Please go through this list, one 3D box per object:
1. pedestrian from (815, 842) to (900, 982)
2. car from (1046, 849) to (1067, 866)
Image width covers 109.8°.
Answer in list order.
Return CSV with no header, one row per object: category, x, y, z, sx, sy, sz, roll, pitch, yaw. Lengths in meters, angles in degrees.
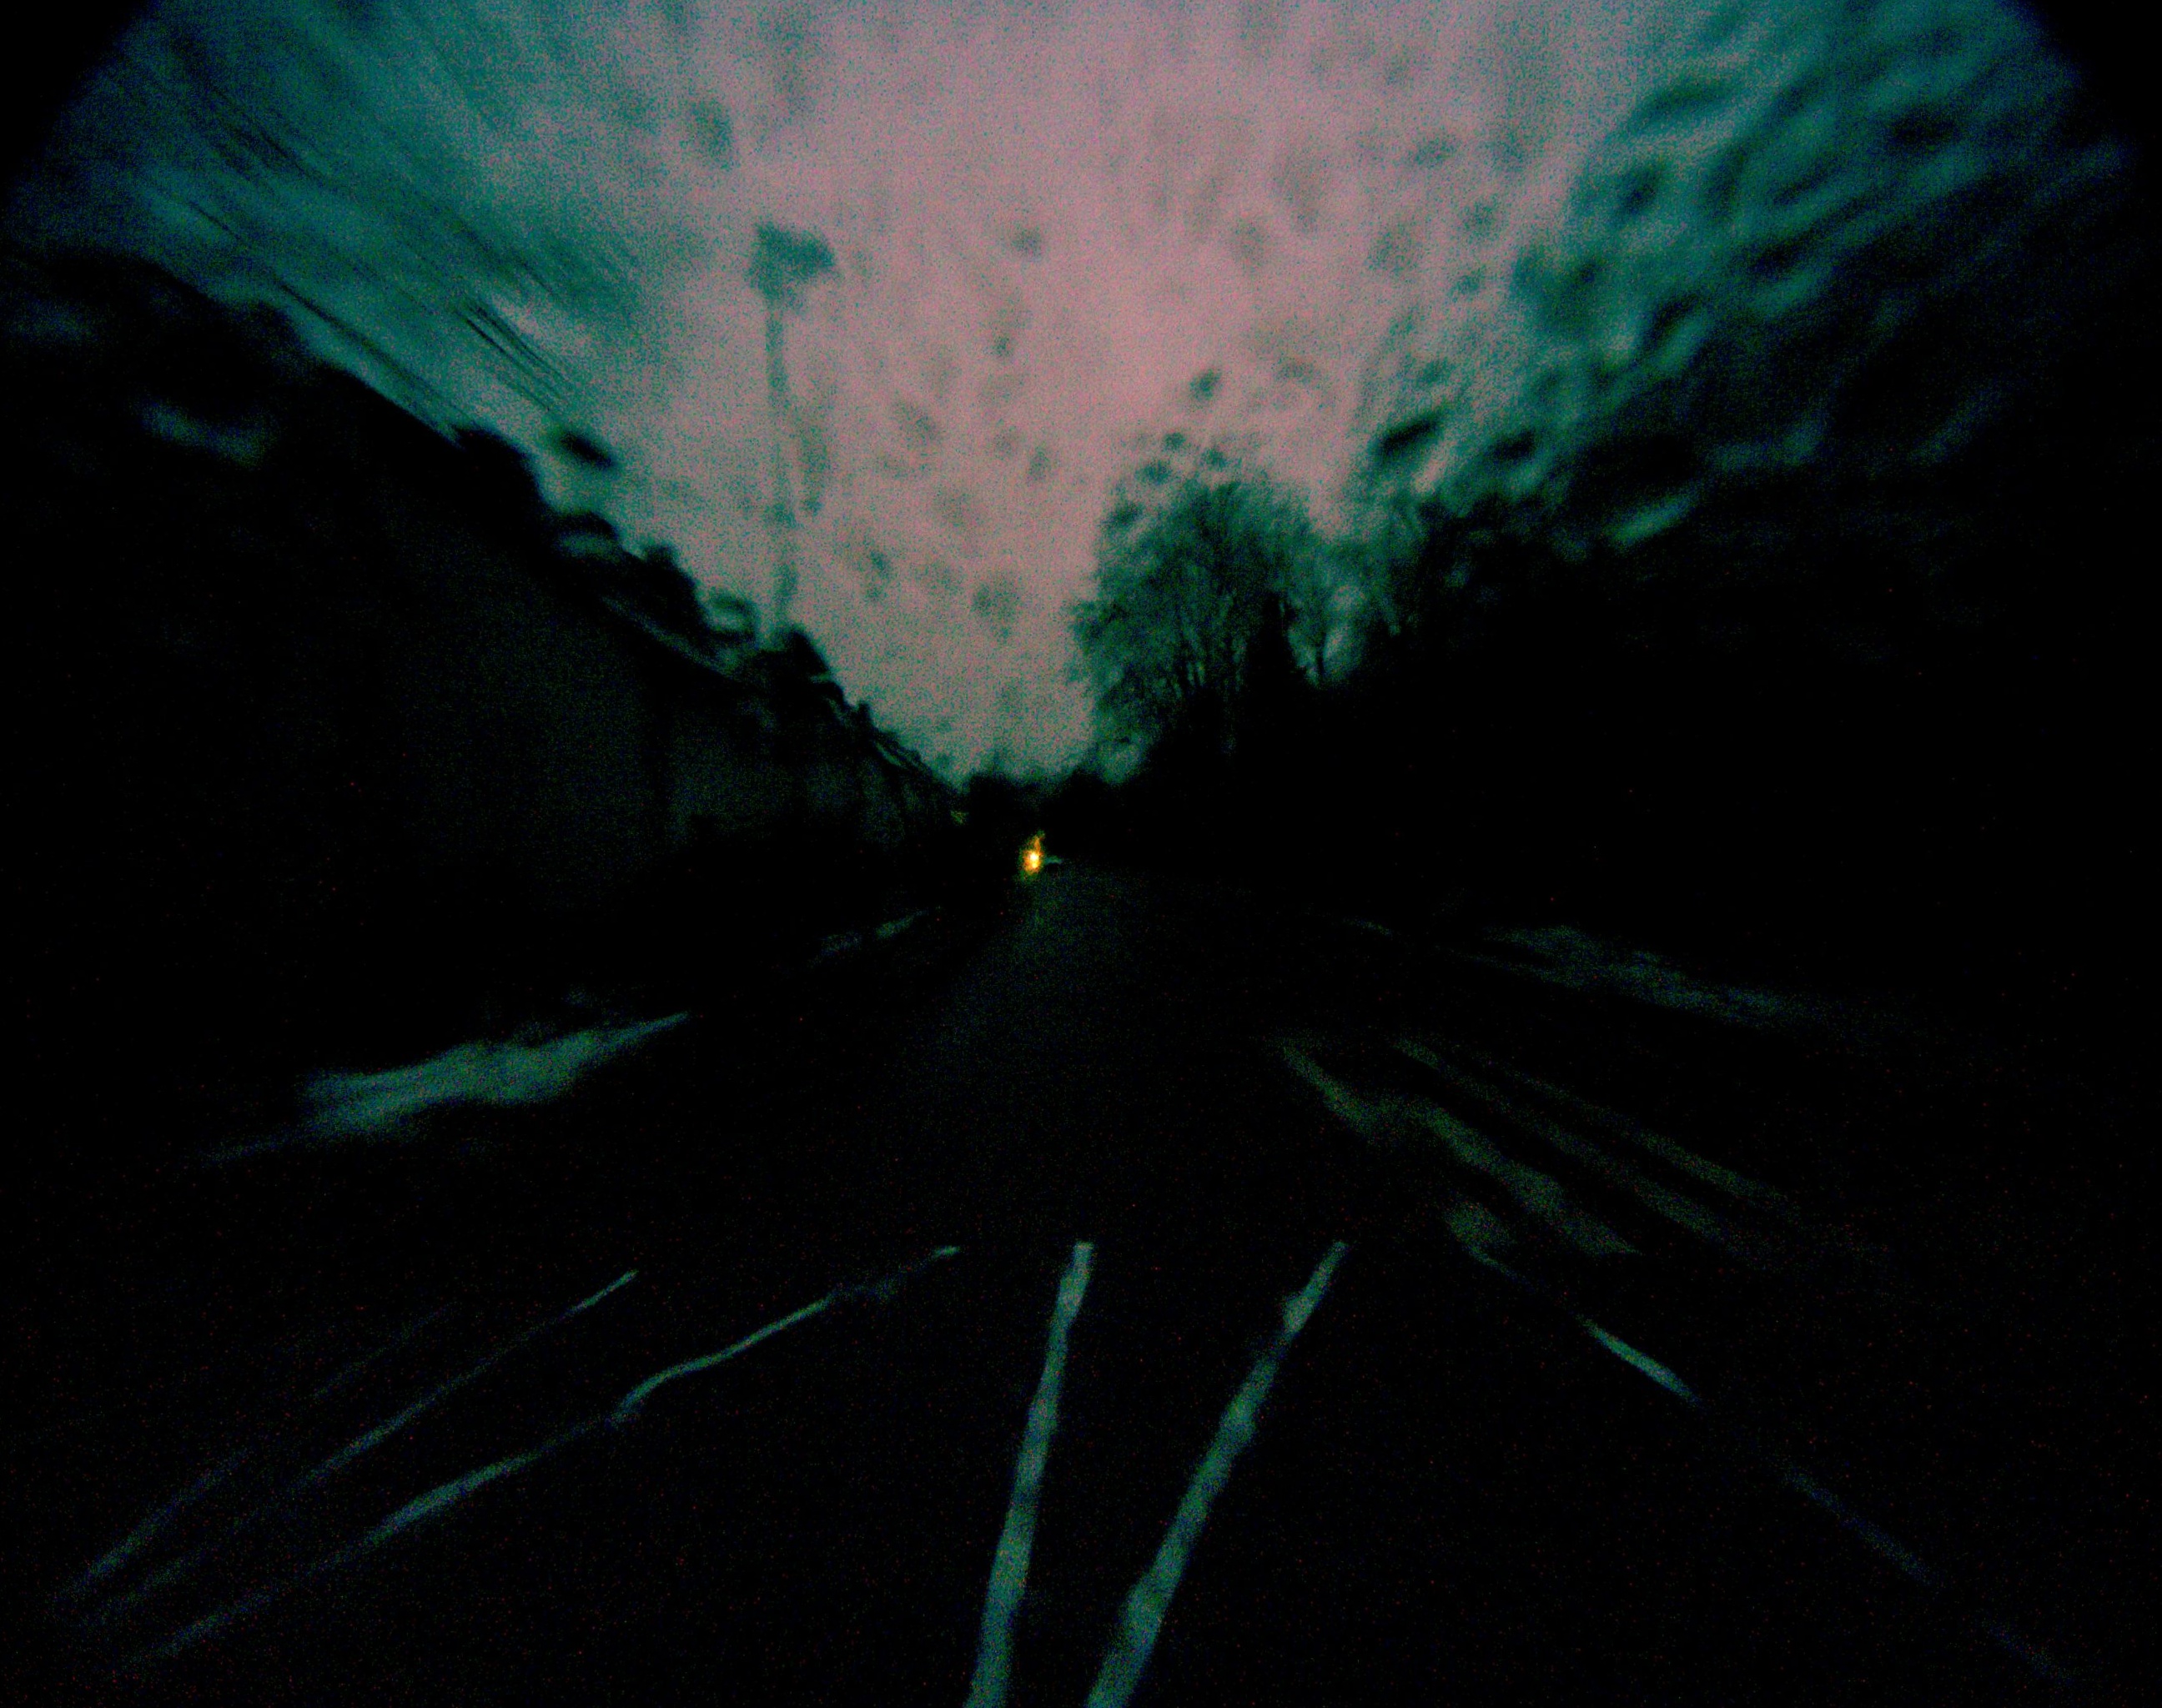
pedestrian,-2.748,0.680,9.437,0.745,1.645,0.970,-1,1,-1
car,-2.383,0.318,72.587,1.709,1.498,4.021,-2,1,-6
